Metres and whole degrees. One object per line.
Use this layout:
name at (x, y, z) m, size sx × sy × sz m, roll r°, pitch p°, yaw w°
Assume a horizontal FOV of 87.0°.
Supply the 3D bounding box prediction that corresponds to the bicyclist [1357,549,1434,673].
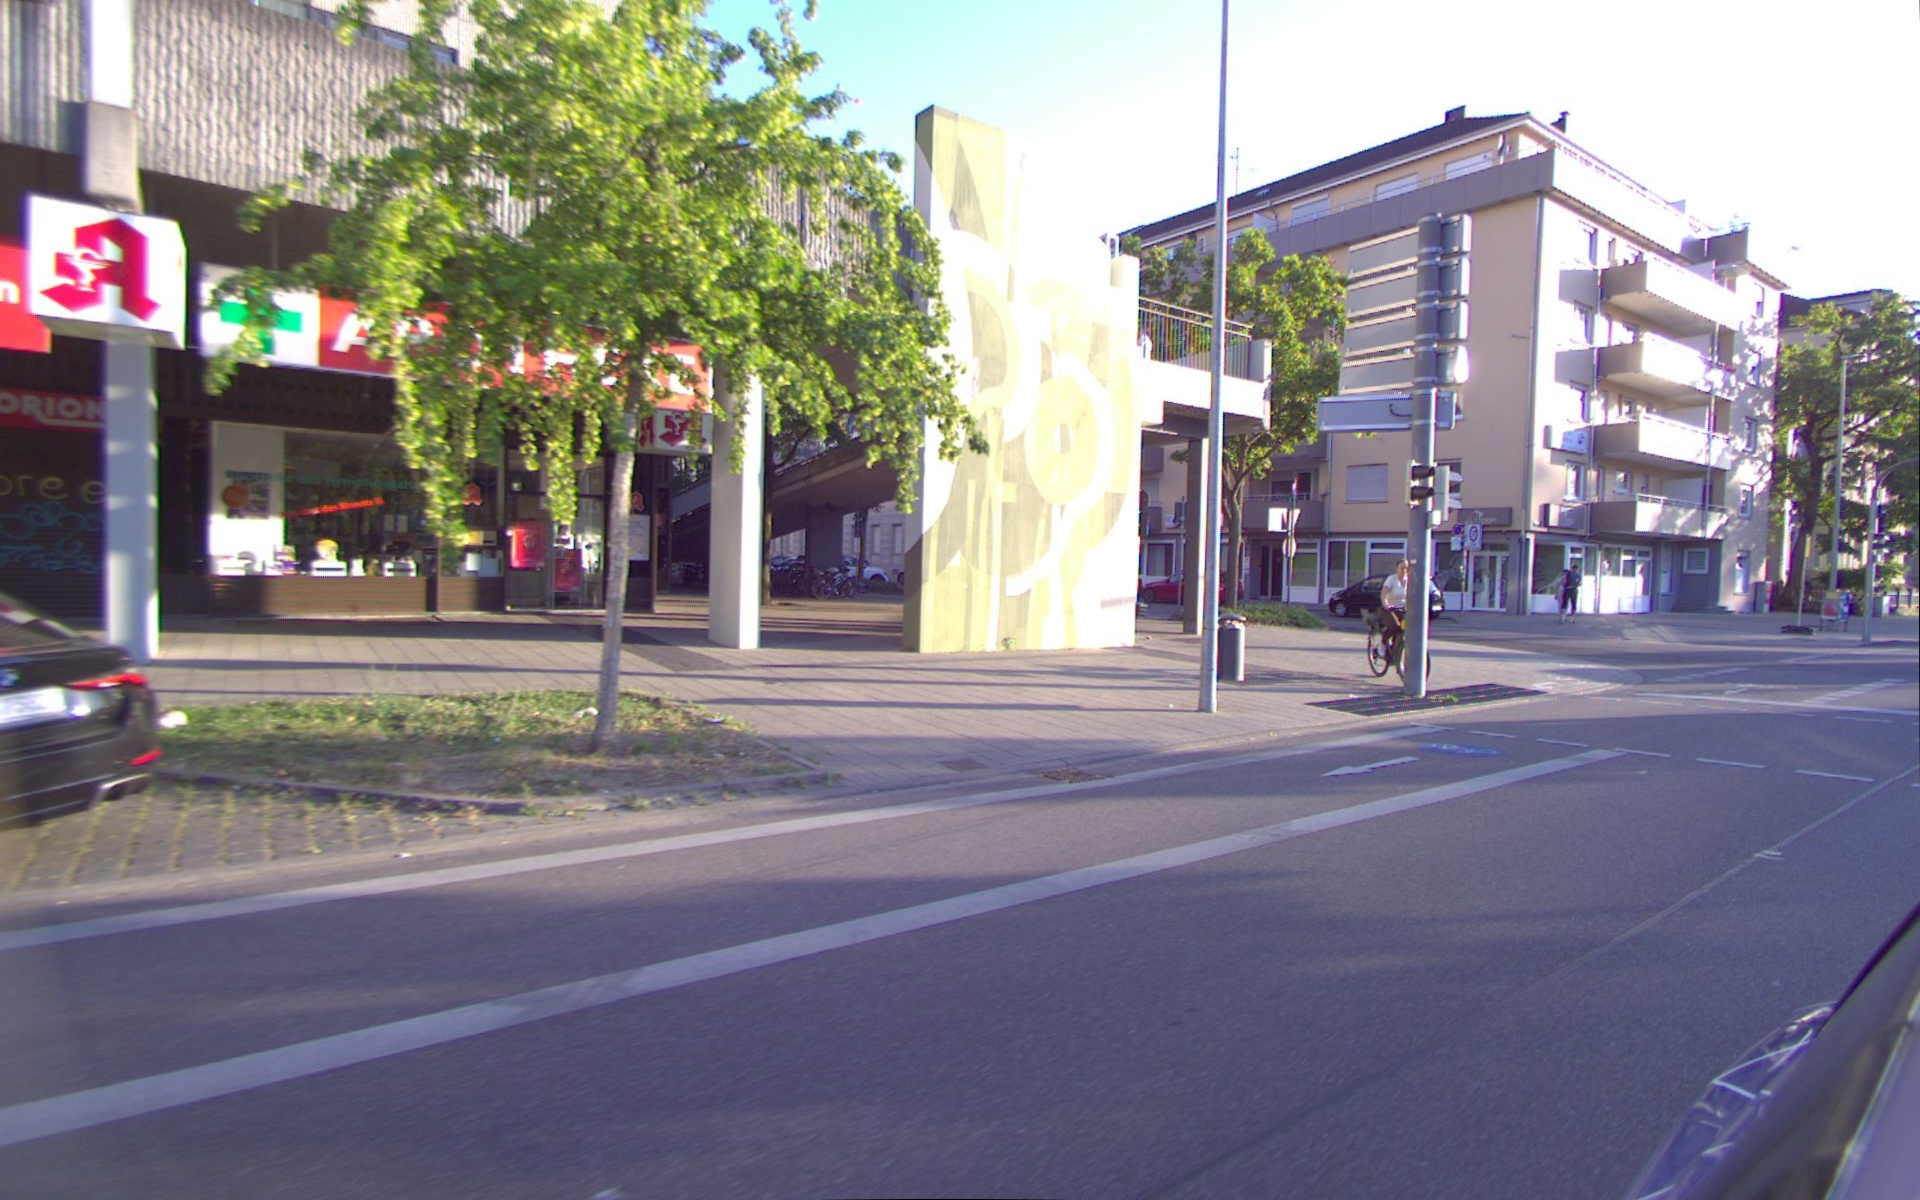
bicyclist at (6.329, 0.127, 14.773) m, size 0.808 × 1.712 × 0.957 m, roll 2°, pitch 3°, yaw 14°

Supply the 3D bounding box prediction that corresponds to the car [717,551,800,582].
car at (-10.471, -1.733, 52.751) m, size 3.956 × 1.555 × 1.641 m, roll 0°, pitch 1°, yaw -37°

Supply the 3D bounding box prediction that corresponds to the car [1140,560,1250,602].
car at (9.512, -0.822, 41.223) m, size 1.629 × 1.457 × 4.223 m, roll -5°, pitch 6°, yaw -40°

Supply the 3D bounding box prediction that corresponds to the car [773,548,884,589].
car at (-5.690, -1.346, 44.170) m, size 4.538 × 1.714 × 1.753 m, roll 0°, pitch 0°, yaw -36°

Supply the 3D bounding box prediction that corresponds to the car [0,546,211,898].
car at (-6.343, 0.433, 4.983) m, size 4.538 × 1.470 × 1.807 m, roll 3°, pitch 3°, yaw 14°

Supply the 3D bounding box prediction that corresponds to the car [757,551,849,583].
car at (-7.518, -1.552, 48.753) m, size 4.106 × 1.479 × 1.751 m, roll -1°, pitch 1°, yaw -40°

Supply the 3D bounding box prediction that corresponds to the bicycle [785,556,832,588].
bicycle at (-5.157, -0.942, 34.581) m, size 1.540 × 1.050 × 0.484 m, roll 0°, pitch 3°, yaw -41°

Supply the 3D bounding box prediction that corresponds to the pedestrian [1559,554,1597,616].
pedestrian at (19.262, -0.475, 31.550) m, size 0.534 × 1.882 × 0.840 m, roll -1°, pitch 3°, yaw -36°

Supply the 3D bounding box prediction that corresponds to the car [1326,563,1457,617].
car at (14.499, -0.398, 34.187) m, size 1.586 × 1.578 × 3.817 m, roll -4°, pitch 5°, yaw -35°

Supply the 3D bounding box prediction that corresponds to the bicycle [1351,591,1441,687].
bicycle at (6.310, 0.515, 14.774) m, size 0.808 × 1.187 × 2.140 m, roll 2°, pitch 3°, yaw 14°

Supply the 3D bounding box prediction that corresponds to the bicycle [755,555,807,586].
bicycle at (-6.339, -1.042, 35.914) m, size 1.798 × 1.050 × 0.484 m, roll 0°, pitch 3°, yaw -41°

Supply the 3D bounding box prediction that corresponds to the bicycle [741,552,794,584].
bicycle at (-7.114, -1.187, 37.513) m, size 0.648 × 1.142 × 1.920 m, roll 4°, pitch 3°, yaw 41°

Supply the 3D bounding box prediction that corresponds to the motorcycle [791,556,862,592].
motorcycle at (-4.197, -0.813, 31.891) m, size 2.116 × 1.071 × 0.786 m, roll 0°, pitch 3°, yaw -41°

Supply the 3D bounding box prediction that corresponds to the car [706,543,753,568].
car at (-18.217, -3.478, 79.886) m, size 1.995 × 1.851 × 4.781 m, roll 0°, pitch 1°, yaw -35°

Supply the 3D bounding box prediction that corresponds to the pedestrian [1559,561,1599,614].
pedestrian at (19.674, -0.416, 32.160) m, size 0.752 × 1.634 × 0.822 m, roll -1°, pitch 3°, yaw -35°

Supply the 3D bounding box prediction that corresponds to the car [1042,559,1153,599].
car at (5.520, -0.882, 41.252) m, size 1.772 × 1.487 × 4.623 m, roll 2°, pitch 1°, yaw -36°

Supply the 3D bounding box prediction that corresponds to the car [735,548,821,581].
car at (-9.177, -1.750, 51.122) m, size 4.009 × 1.555 × 1.639 m, roll 0°, pitch 1°, yaw -40°

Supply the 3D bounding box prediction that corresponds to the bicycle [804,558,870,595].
bicycle at (-3.765, -0.710, 31.103) m, size 1.889 × 1.071 × 0.782 m, roll 0°, pitch 3°, yaw -41°

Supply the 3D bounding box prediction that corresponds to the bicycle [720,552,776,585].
bicycle at (-7.898, -1.164, 37.784) m, size 0.648 × 1.142 × 2.051 m, roll 4°, pitch 3°, yaw 41°

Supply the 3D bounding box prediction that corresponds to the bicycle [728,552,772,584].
bicycle at (-8.026, -1.223, 38.774) m, size 0.648 × 1.142 × 1.544 m, roll 4°, pitch 3°, yaw 41°
